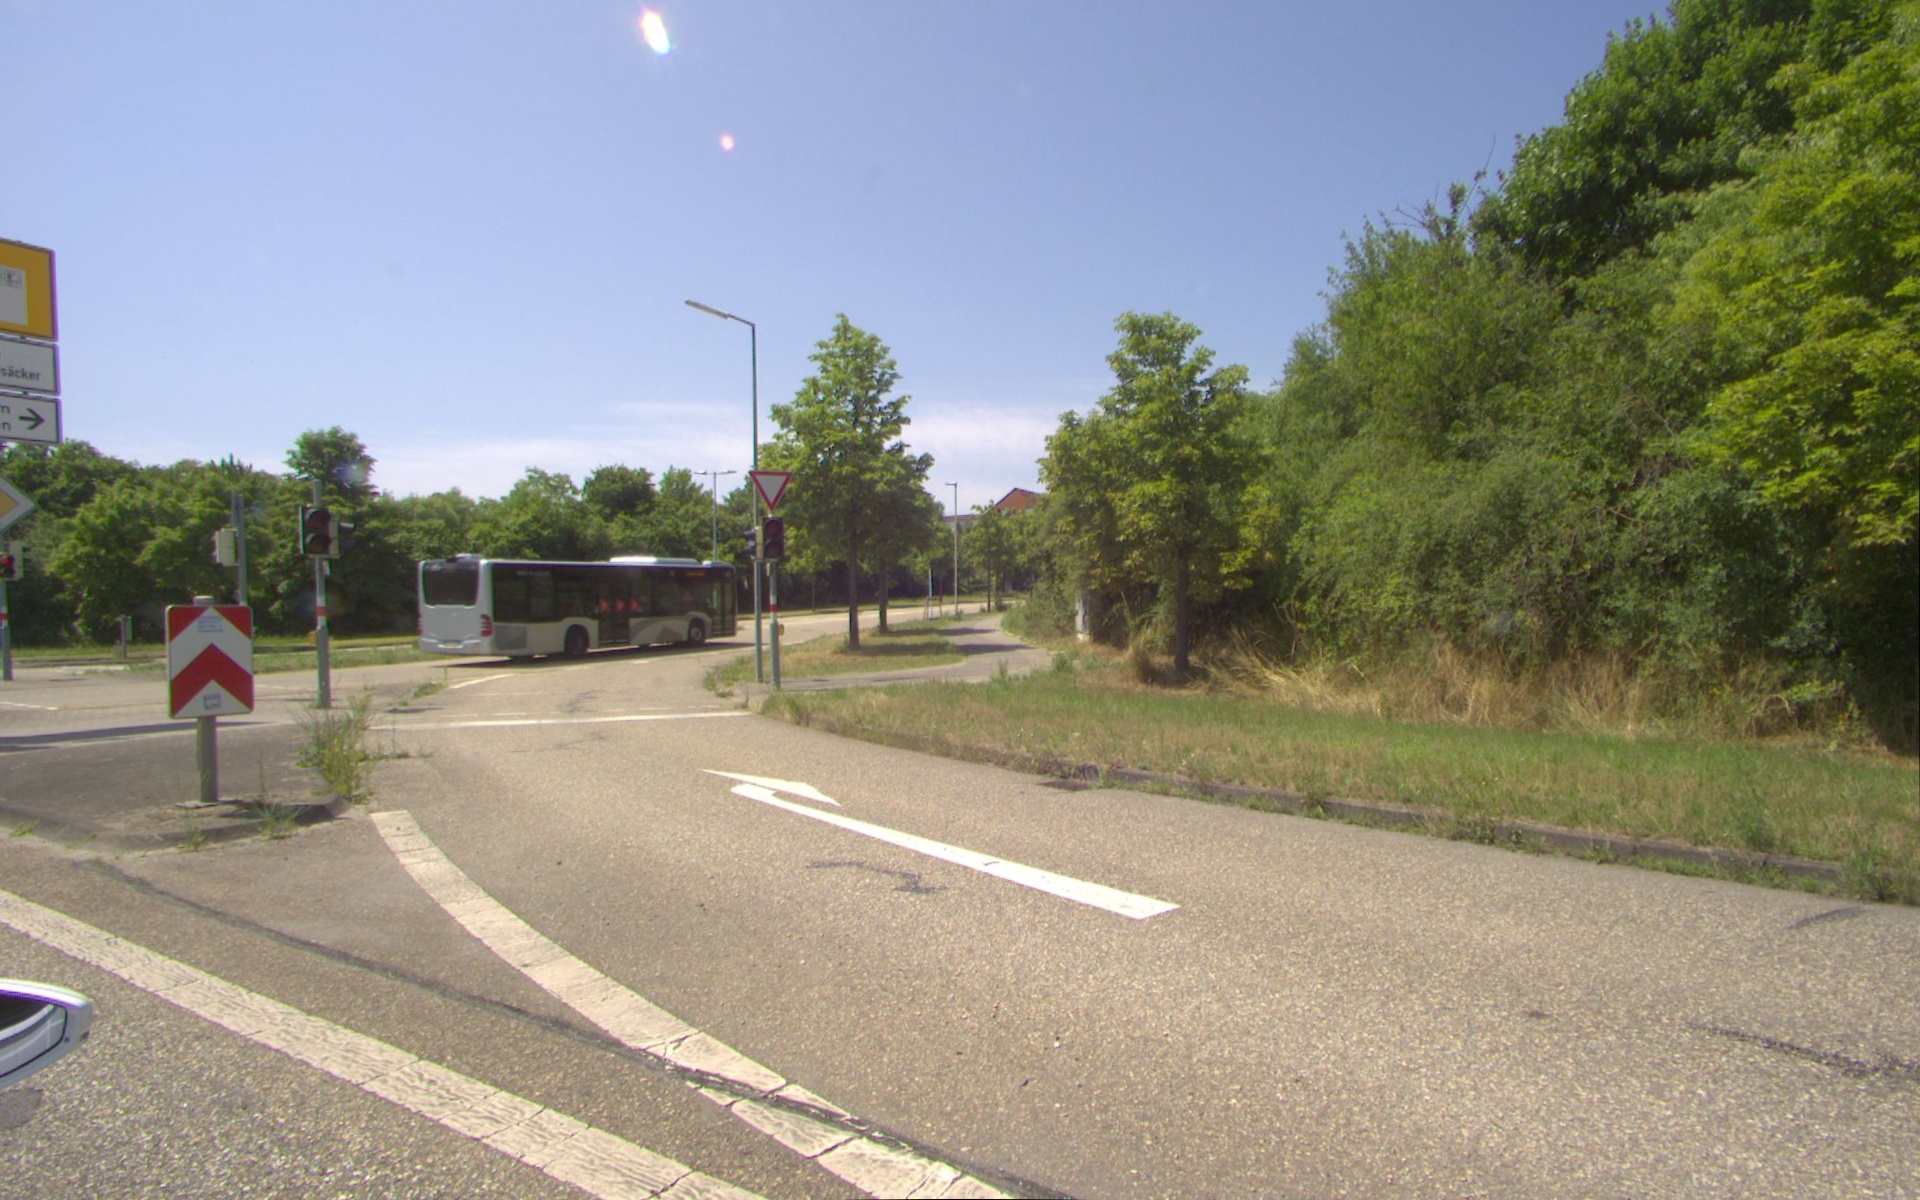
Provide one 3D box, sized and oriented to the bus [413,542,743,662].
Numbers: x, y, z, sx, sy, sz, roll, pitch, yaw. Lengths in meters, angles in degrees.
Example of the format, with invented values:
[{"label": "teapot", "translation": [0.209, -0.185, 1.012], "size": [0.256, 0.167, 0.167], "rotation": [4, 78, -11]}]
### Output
[{"label": "bus", "translation": [-11.434, 0.063, 32.202], "size": [2.586, 3.127, 12.052], "rotation": [0, 0, 21]}]
